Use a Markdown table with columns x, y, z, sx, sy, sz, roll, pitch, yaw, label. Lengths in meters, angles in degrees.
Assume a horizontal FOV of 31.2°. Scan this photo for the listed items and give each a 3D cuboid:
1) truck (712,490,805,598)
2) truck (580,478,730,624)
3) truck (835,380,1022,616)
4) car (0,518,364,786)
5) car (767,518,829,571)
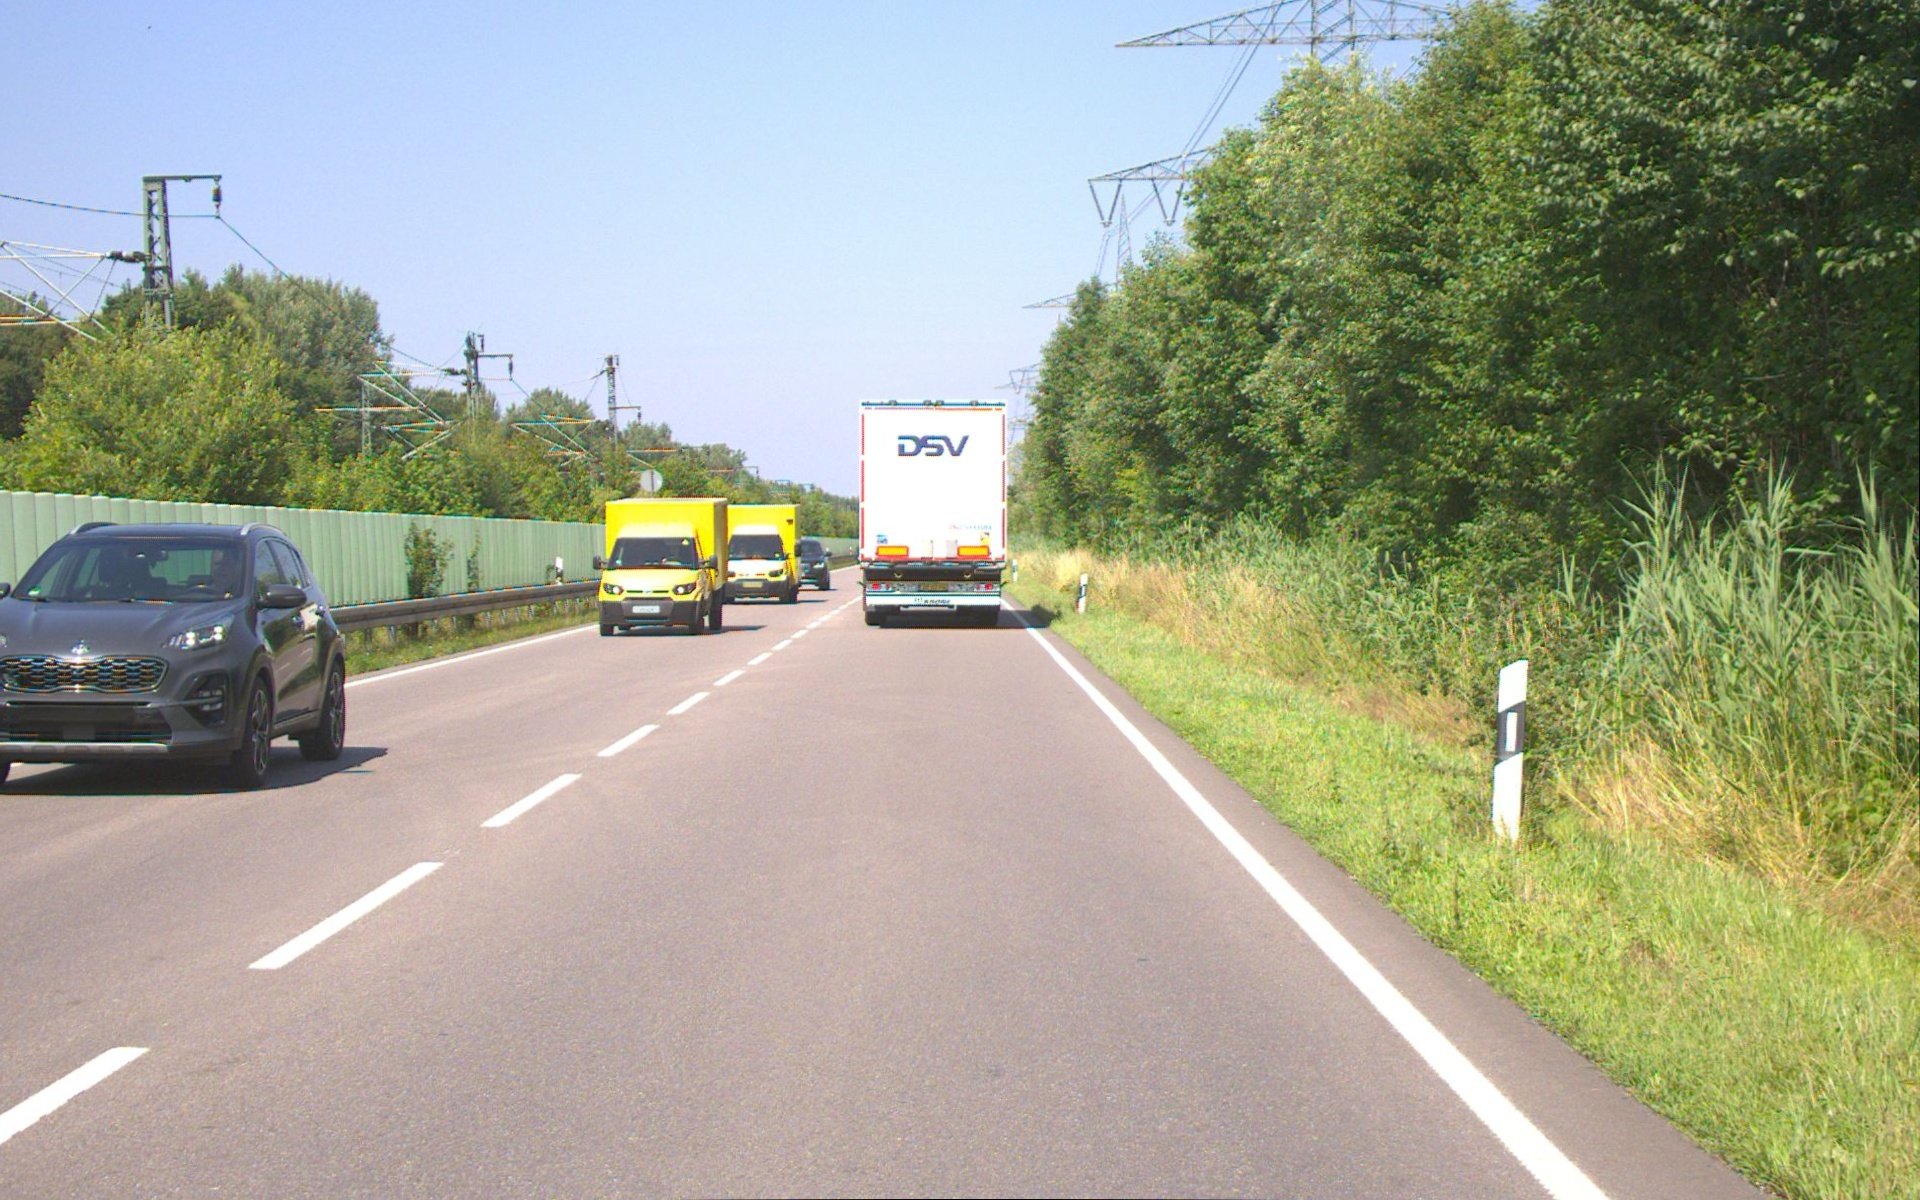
| x | y | z | sx | sy | sz | roll | pitch | yaw | label |
| --- | --- | --- | --- | --- | --- | --- | --- | --- | --- |
| -5.059 | -1.433 | 87.038 | 2.080 | 2.637 | 5.705 | 0 | 1 | -1 | truck |
| -5.111 | -0.847 | 58.313 | 1.993 | 2.340 | 6.012 | 0 | 1 | 0 | truck |
| -0.612 | -1.859 | 65.085 | 3.192 | 4.029 | 12.007 | 0 | 1 | -1 | truck |
| -5.179 | 0.265 | 22.521 | 1.801 | 1.582 | 4.371 | 0 | 1 | 0 | car |
| -5.255 | -1.812 | 111.899 | 1.814 | 1.688 | 4.706 | 0 | 1 | 0 | car |
